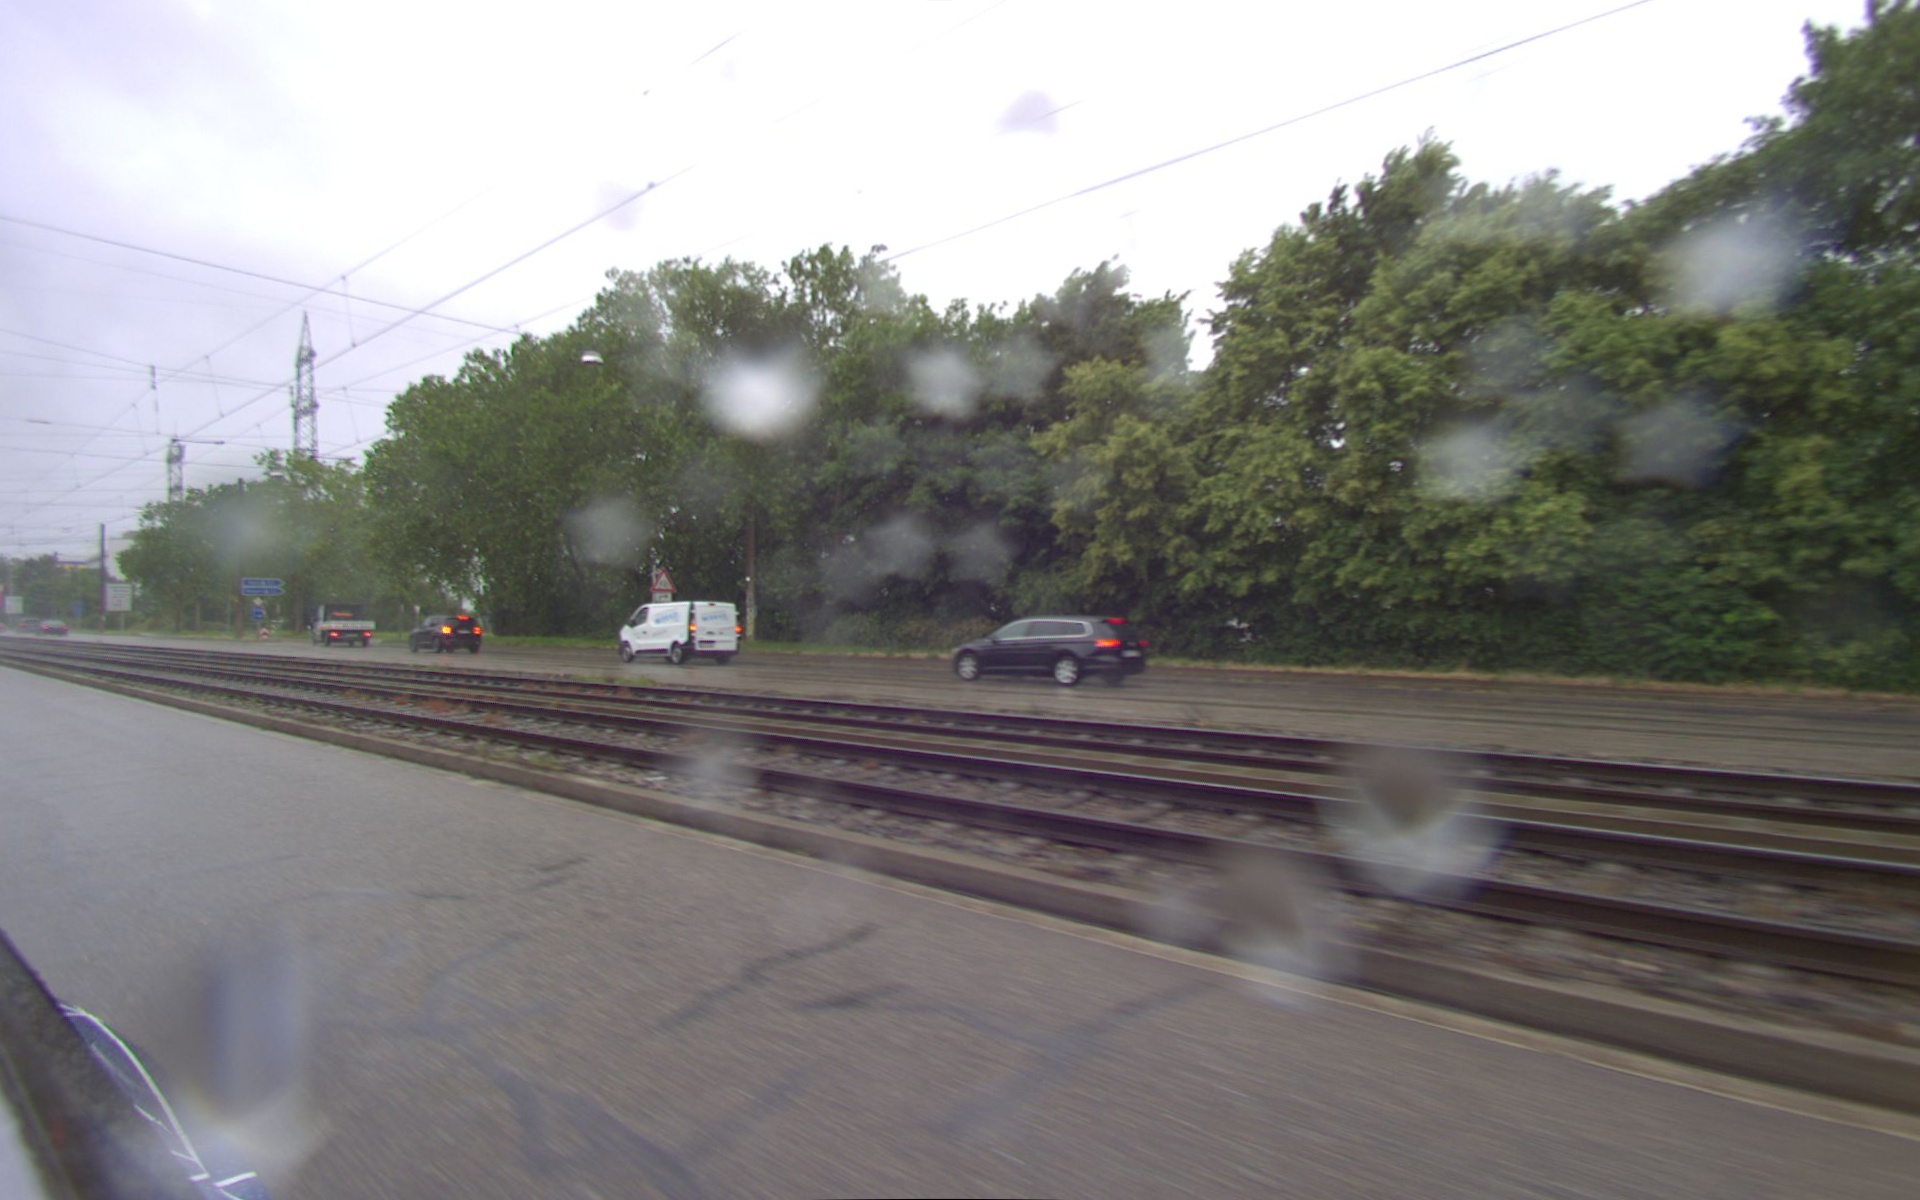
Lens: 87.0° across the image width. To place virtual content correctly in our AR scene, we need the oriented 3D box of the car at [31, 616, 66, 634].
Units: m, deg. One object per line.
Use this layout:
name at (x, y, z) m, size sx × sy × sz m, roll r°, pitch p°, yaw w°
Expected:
car at (-85.472, 2.352, 94.864) m, size 5.678 × 1.597 × 1.758 m, roll -3°, pitch -1°, yaw 41°

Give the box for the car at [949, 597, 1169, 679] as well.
car at (2.002, 0.807, 21.654) m, size 4.612 × 1.530 × 1.670 m, roll -3°, pitch -1°, yaw 44°

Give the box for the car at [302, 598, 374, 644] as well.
car at (-34.384, 1.205, 55.836) m, size 2.074 × 2.360 × 6.997 m, roll -2°, pitch -1°, yaw -43°

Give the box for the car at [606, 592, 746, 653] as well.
car at (-9.226, 0.752, 32.674) m, size 4.985 × 1.789 × 2.018 m, roll -3°, pitch -1°, yaw 43°

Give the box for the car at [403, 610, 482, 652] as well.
car at (-22.863, 1.367, 44.654) m, size 4.163 × 1.730 × 1.821 m, roll -3°, pitch -1°, yaw 44°

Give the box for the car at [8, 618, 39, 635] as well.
car at (-100.735, 2.876, 108.850) m, size 6.101 × 1.719 × 1.801 m, roll -3°, pitch -1°, yaw 41°
